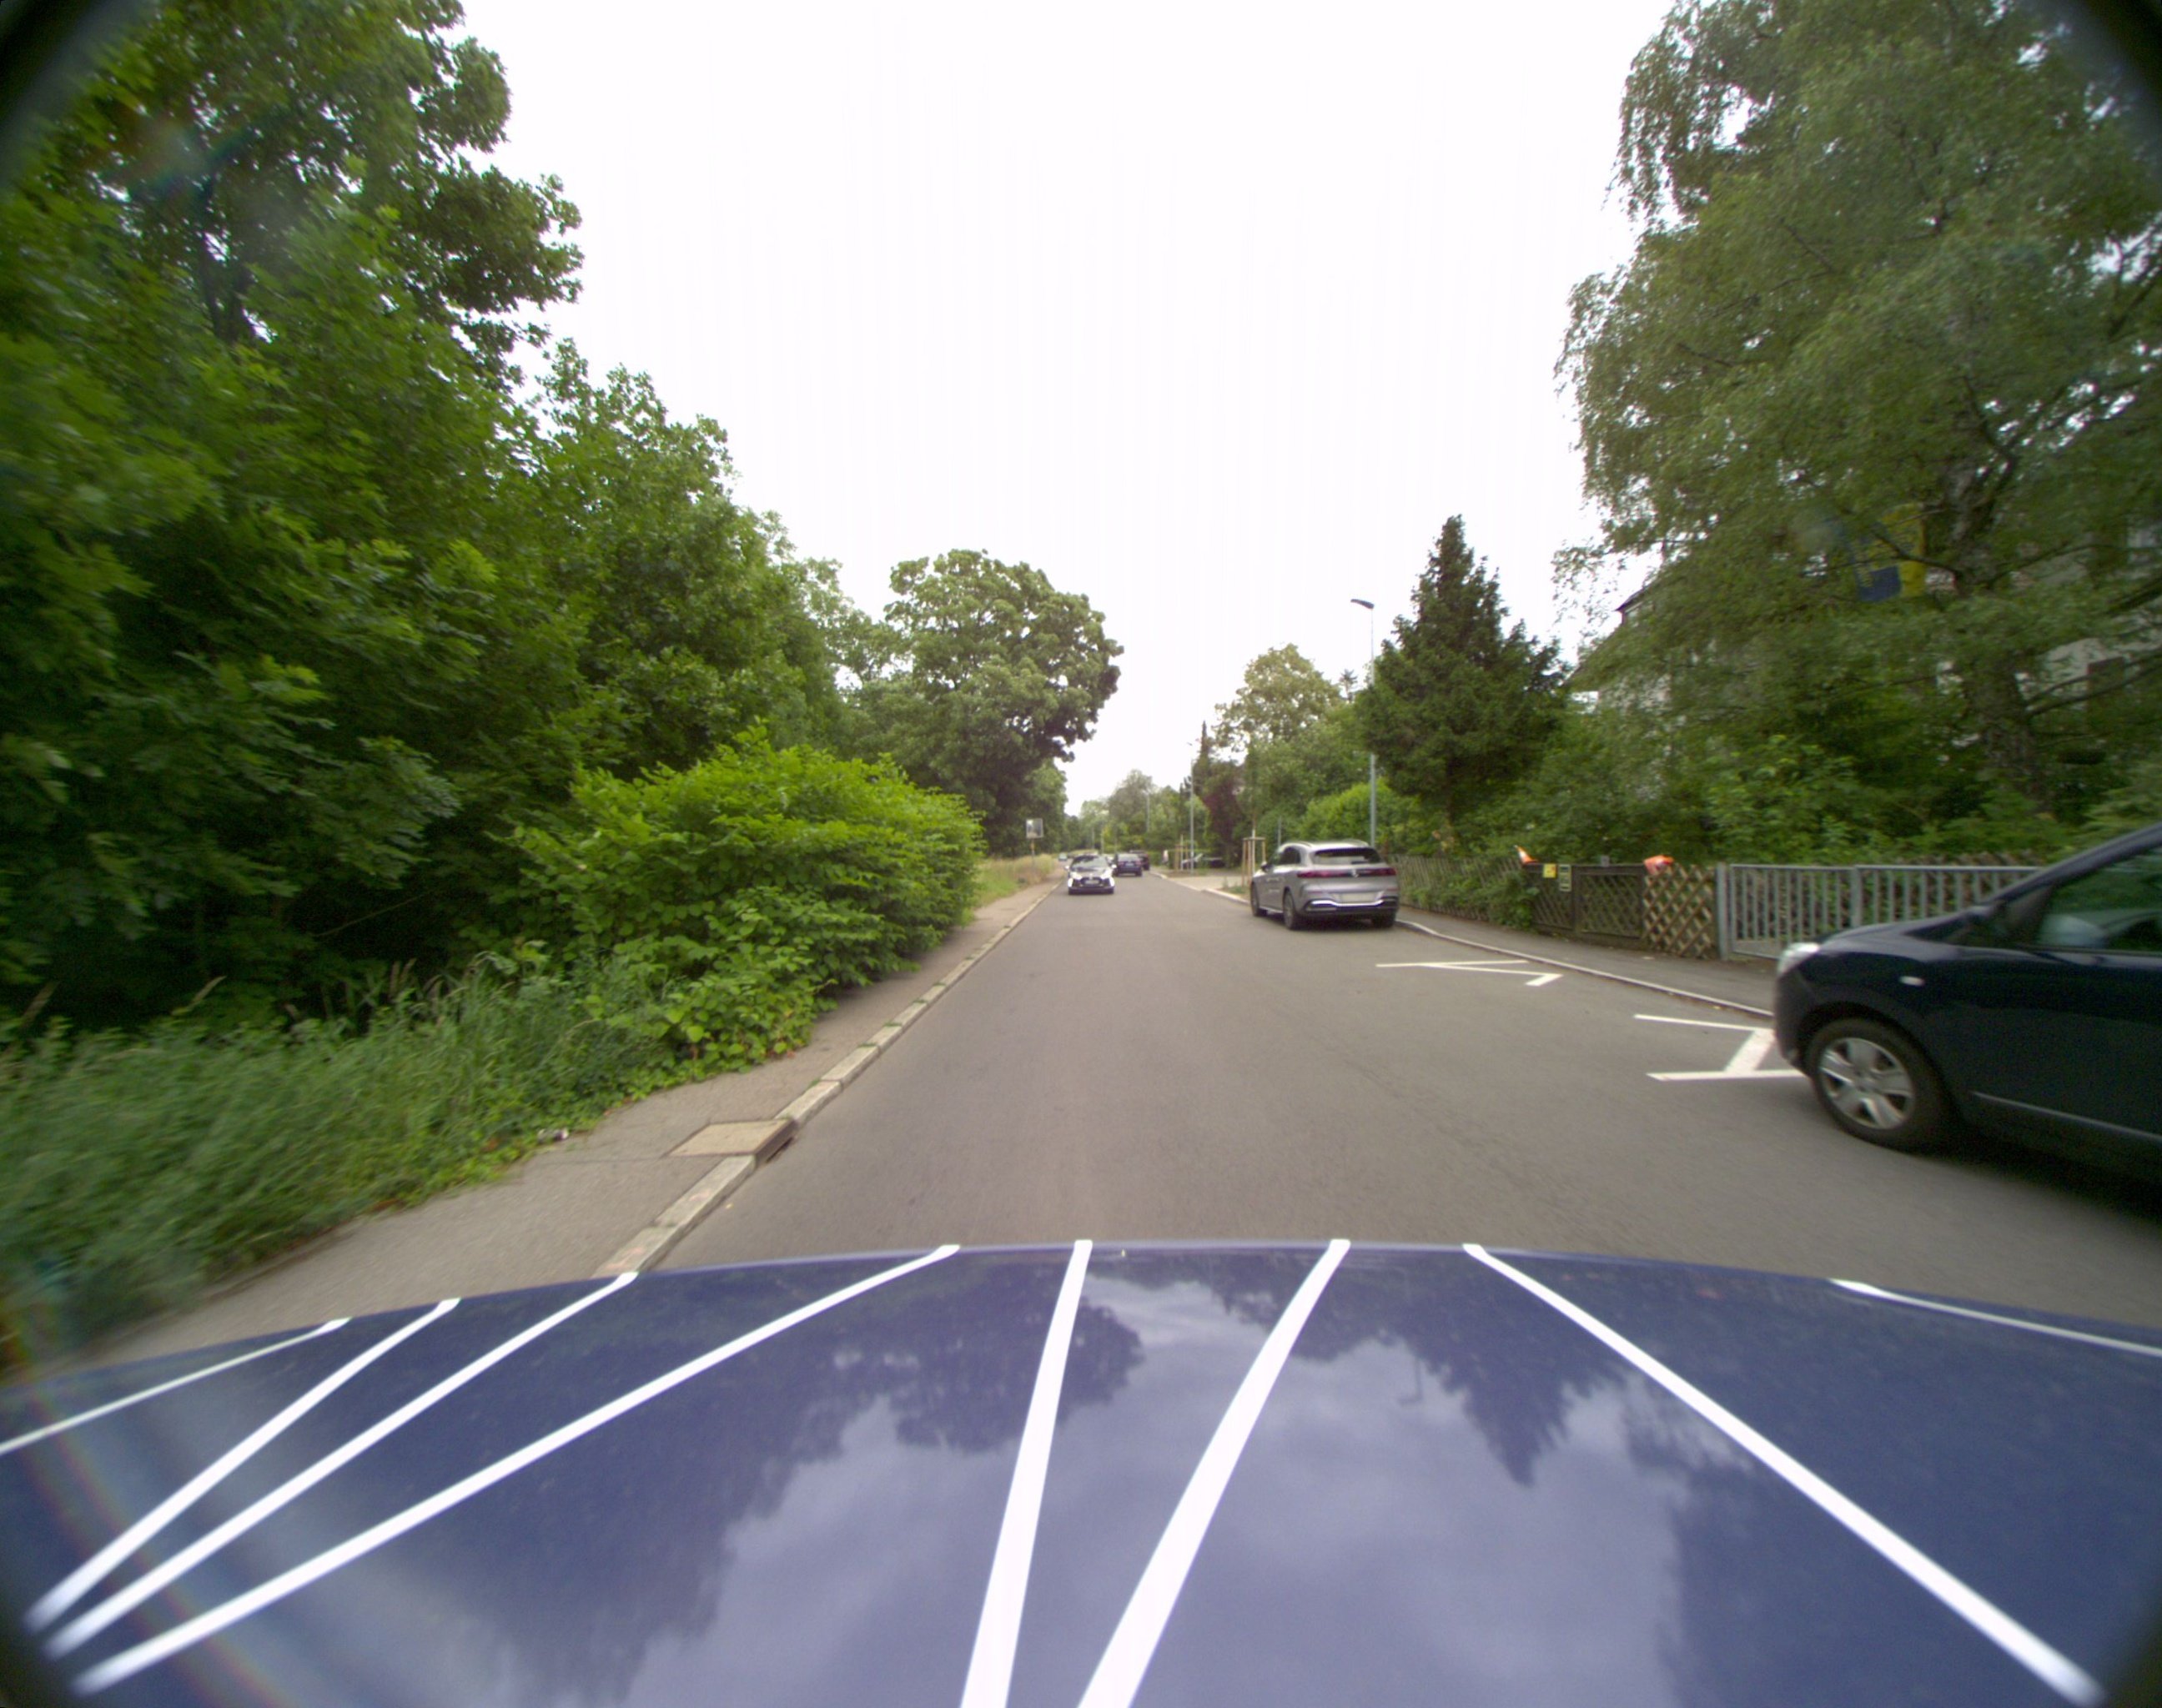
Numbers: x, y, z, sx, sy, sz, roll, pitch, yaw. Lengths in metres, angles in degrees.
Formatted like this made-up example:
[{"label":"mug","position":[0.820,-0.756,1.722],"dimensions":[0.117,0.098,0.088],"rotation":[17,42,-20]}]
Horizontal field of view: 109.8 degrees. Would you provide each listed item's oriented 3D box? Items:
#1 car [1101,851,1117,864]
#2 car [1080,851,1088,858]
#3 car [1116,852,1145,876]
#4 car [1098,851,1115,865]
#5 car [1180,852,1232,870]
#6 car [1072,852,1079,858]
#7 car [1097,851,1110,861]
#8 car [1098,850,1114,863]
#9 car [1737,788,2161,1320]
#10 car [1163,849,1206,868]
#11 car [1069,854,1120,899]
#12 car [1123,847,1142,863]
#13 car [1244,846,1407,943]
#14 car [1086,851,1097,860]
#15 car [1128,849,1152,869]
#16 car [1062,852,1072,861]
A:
[{"label":"car","position":[3.702,0.436,101.102],"dimensions":[1.922,1.670,4.194],"rotation":[-1,0,-1]},{"label":"car","position":[0.771,0.137,193.562],"dimensions":[1.922,1.670,4.194],"rotation":[-1,0,-1]},{"label":"car","position":[3.199,0.630,49.572],"dimensions":[1.711,1.466,4.195],"rotation":[-1,0,2]},{"label":"car","position":[3.136,0.462,95.469],"dimensions":[1.922,1.670,4.194],"rotation":[-1,0,-1]},{"label":"car","position":[9.686,0.510,58.882],"dimensions":[3.773,1.306,1.641],"rotation":[-1,0,2]},{"label":"car","position":[-1.521,0.214,203.182],"dimensions":[1.922,1.670,4.194],"rotation":[-1,0,-1]},{"label":"car","position":[3.693,0.297,125.678],"dimensions":[1.922,1.670,4.194],"rotation":[-1,0,-1]},{"label":"car","position":[3.463,0.342,106.147],"dimensions":[1.922,1.670,4.194],"rotation":[-1,0,-1]},{"label":"car","position":[4.459,0.655,2.045],"dimensions":[1.711,1.789,4.298],"rotation":[-1,0,1]},{"label":"car","position":[9.496,0.398,69.727],"dimensions":[3.772,1.581,1.641],"rotation":[-1,0,7]},{"label":"car","position":[0.536,0.778,28.329],"dimensions":[1.711,1.466,4.195],"rotation":[-1,0,2]},{"label":"car","position":[5.576,0.134,83.270],"dimensions":[1.922,1.670,4.195],"rotation":[-1,0,2]},{"label":"car","position":[4.646,0.683,15.231],"dimensions":[1.800,1.598,4.730],"rotation":[-1,0,1]},{"label":"car","position":[1.957,0.290,141.560],"dimensions":[1.922,1.670,4.194],"rotation":[-1,0,-1]},{"label":"car","position":[5.136,0.386,66.371],"dimensions":[1.922,1.670,4.195],"rotation":[-1,0,2]},{"label":"car","position":[-2.798,0.458,150.137],"dimensions":[1.923,1.670,4.193],"rotation":[-1,0,-3]}]
